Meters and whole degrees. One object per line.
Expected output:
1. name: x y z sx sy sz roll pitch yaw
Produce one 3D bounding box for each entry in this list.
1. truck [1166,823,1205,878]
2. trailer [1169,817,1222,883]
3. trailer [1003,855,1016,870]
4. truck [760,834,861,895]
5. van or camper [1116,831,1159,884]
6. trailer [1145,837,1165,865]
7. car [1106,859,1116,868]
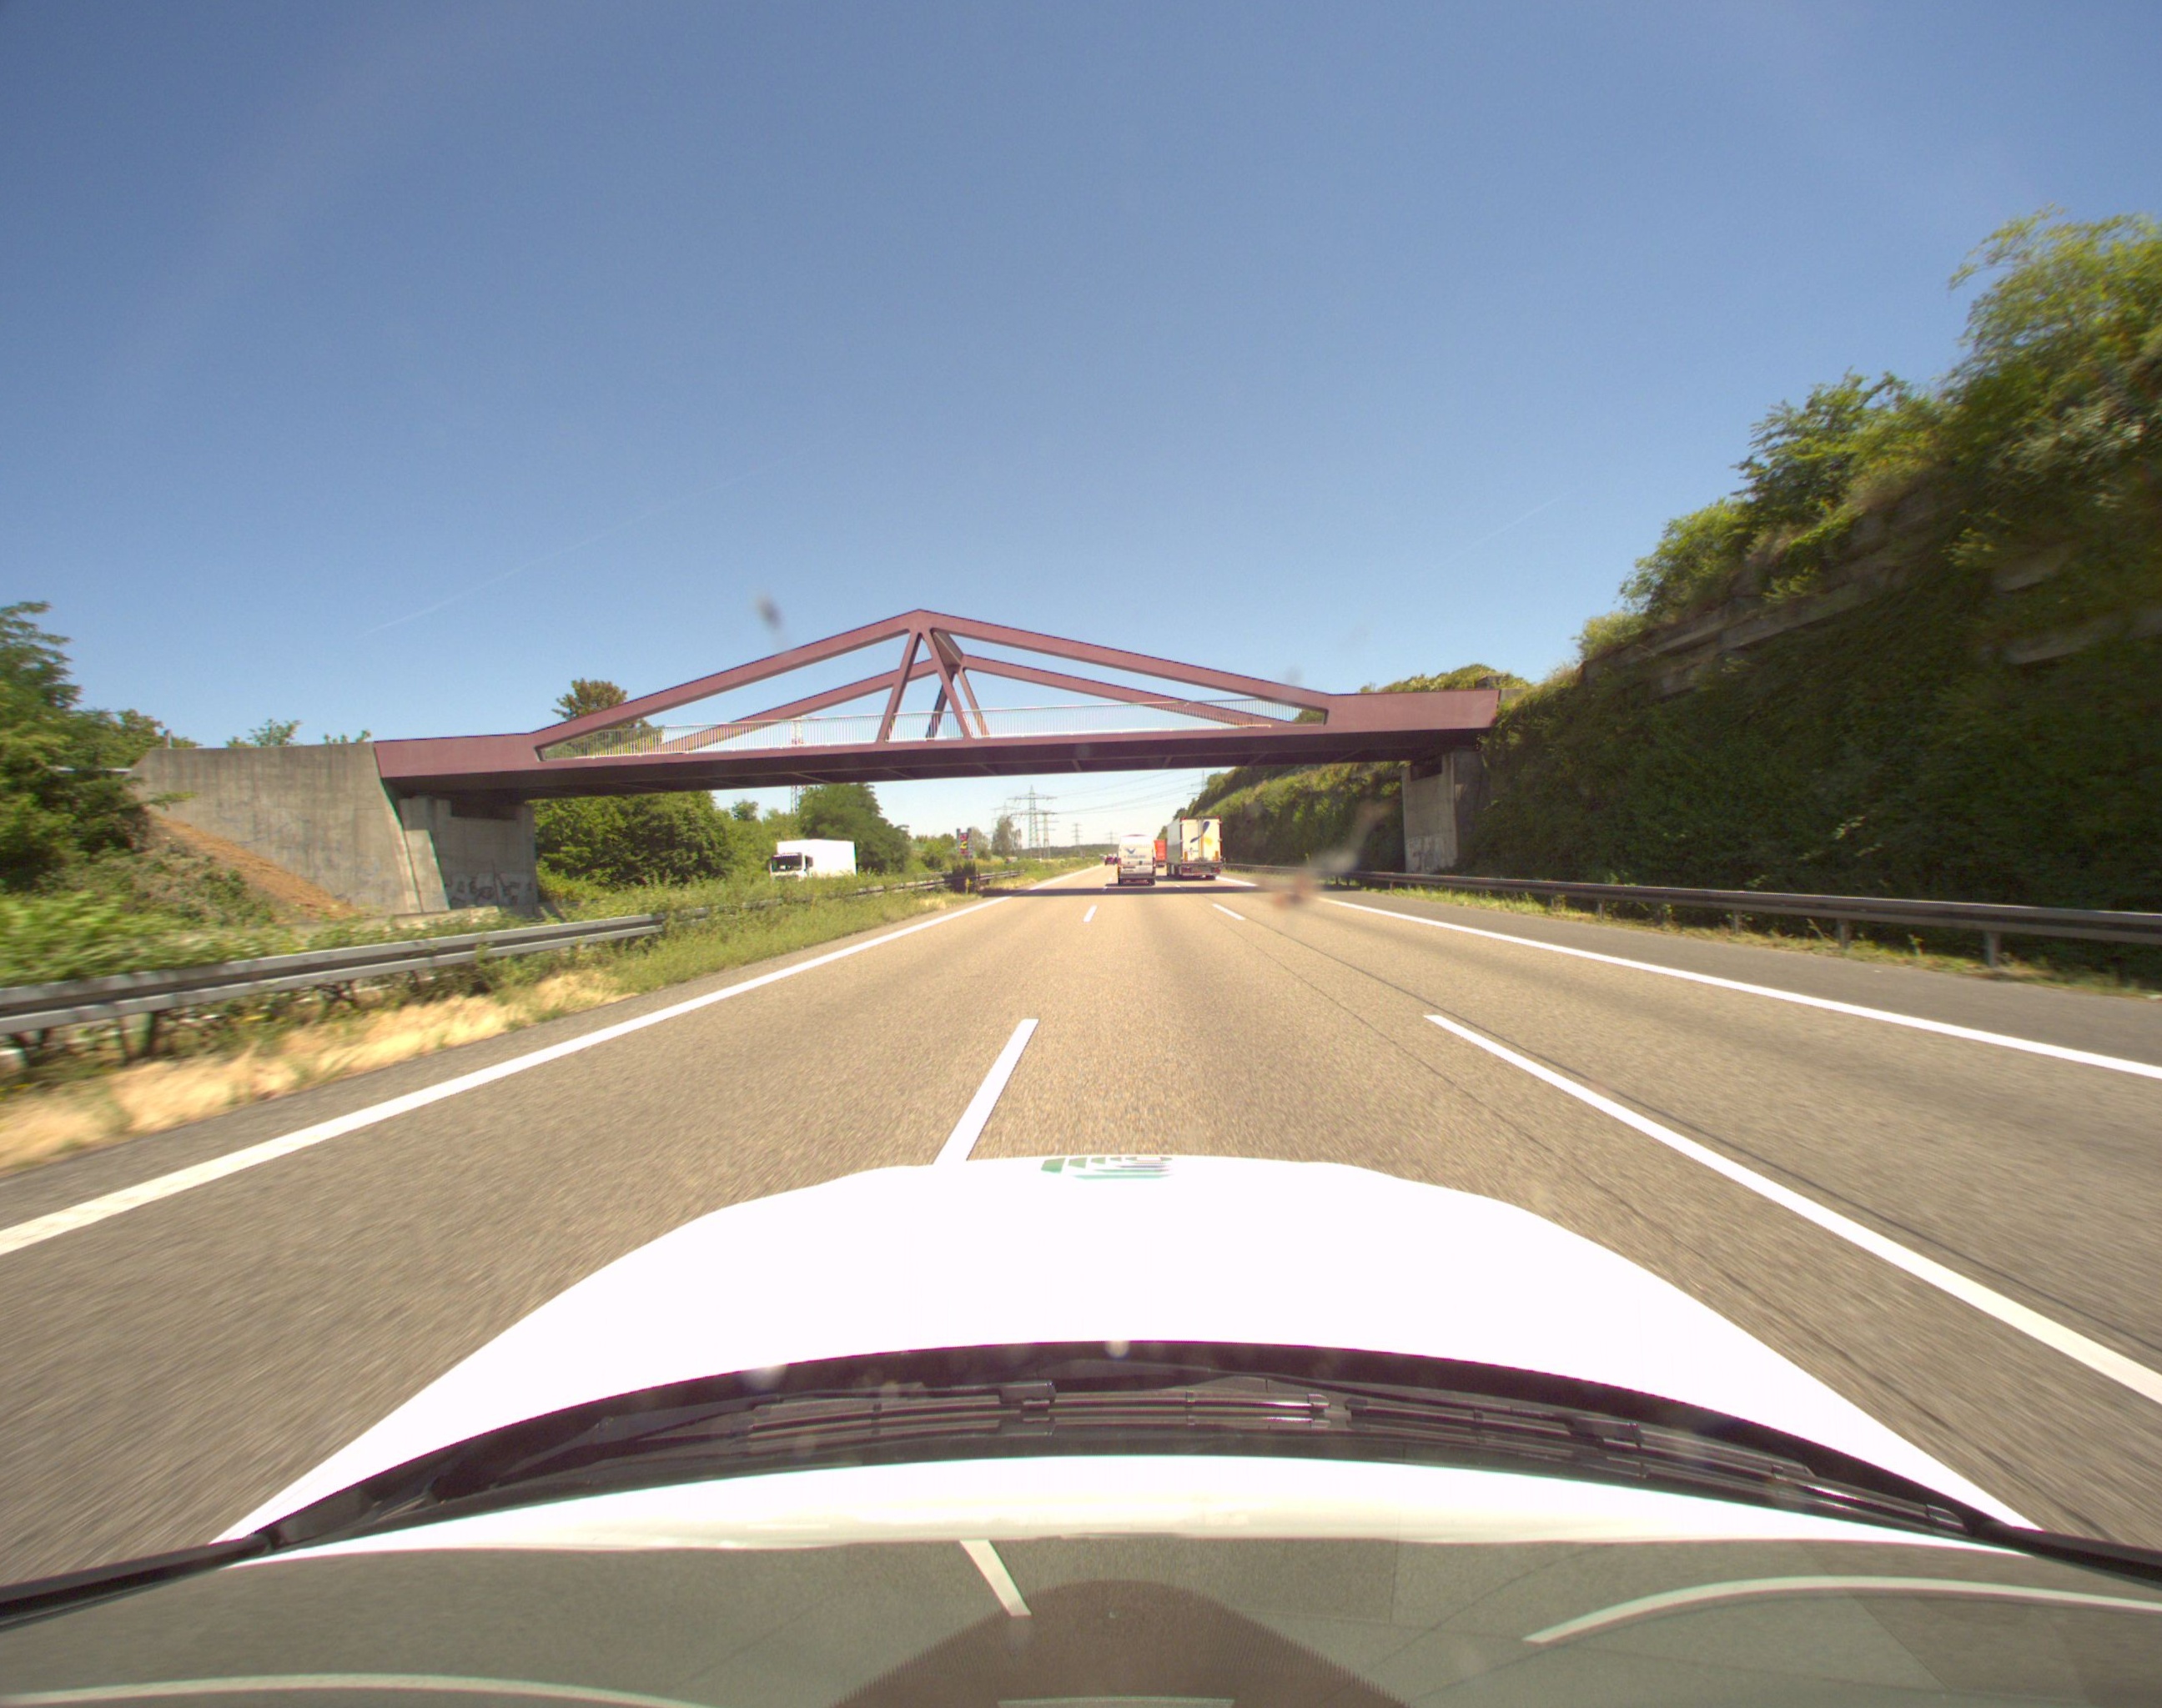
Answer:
1. truck: 8.068 -0.253 63.370 2.626 4.060 5.804 0 0 3
2. trailer: 7.696 -0.225 56.203 2.626 4.060 12.375 0 0 3
3. trailer: -13.141 1.563 149.926 1.792 2.618 4.413 0 0 4
4. truck: -17.630 0.641 54.042 2.797 3.537 10.193 -3 0 2
5. van or camper: 3.080 0.194 45.444 2.221 2.782 5.426 0 0 2
6. trailer: 10.880 -0.442 120.026 2.626 3.897 7.074 0 0 3
7. car: 6.095 1.983 166.682 1.973 1.817 3.817 0 0 4
